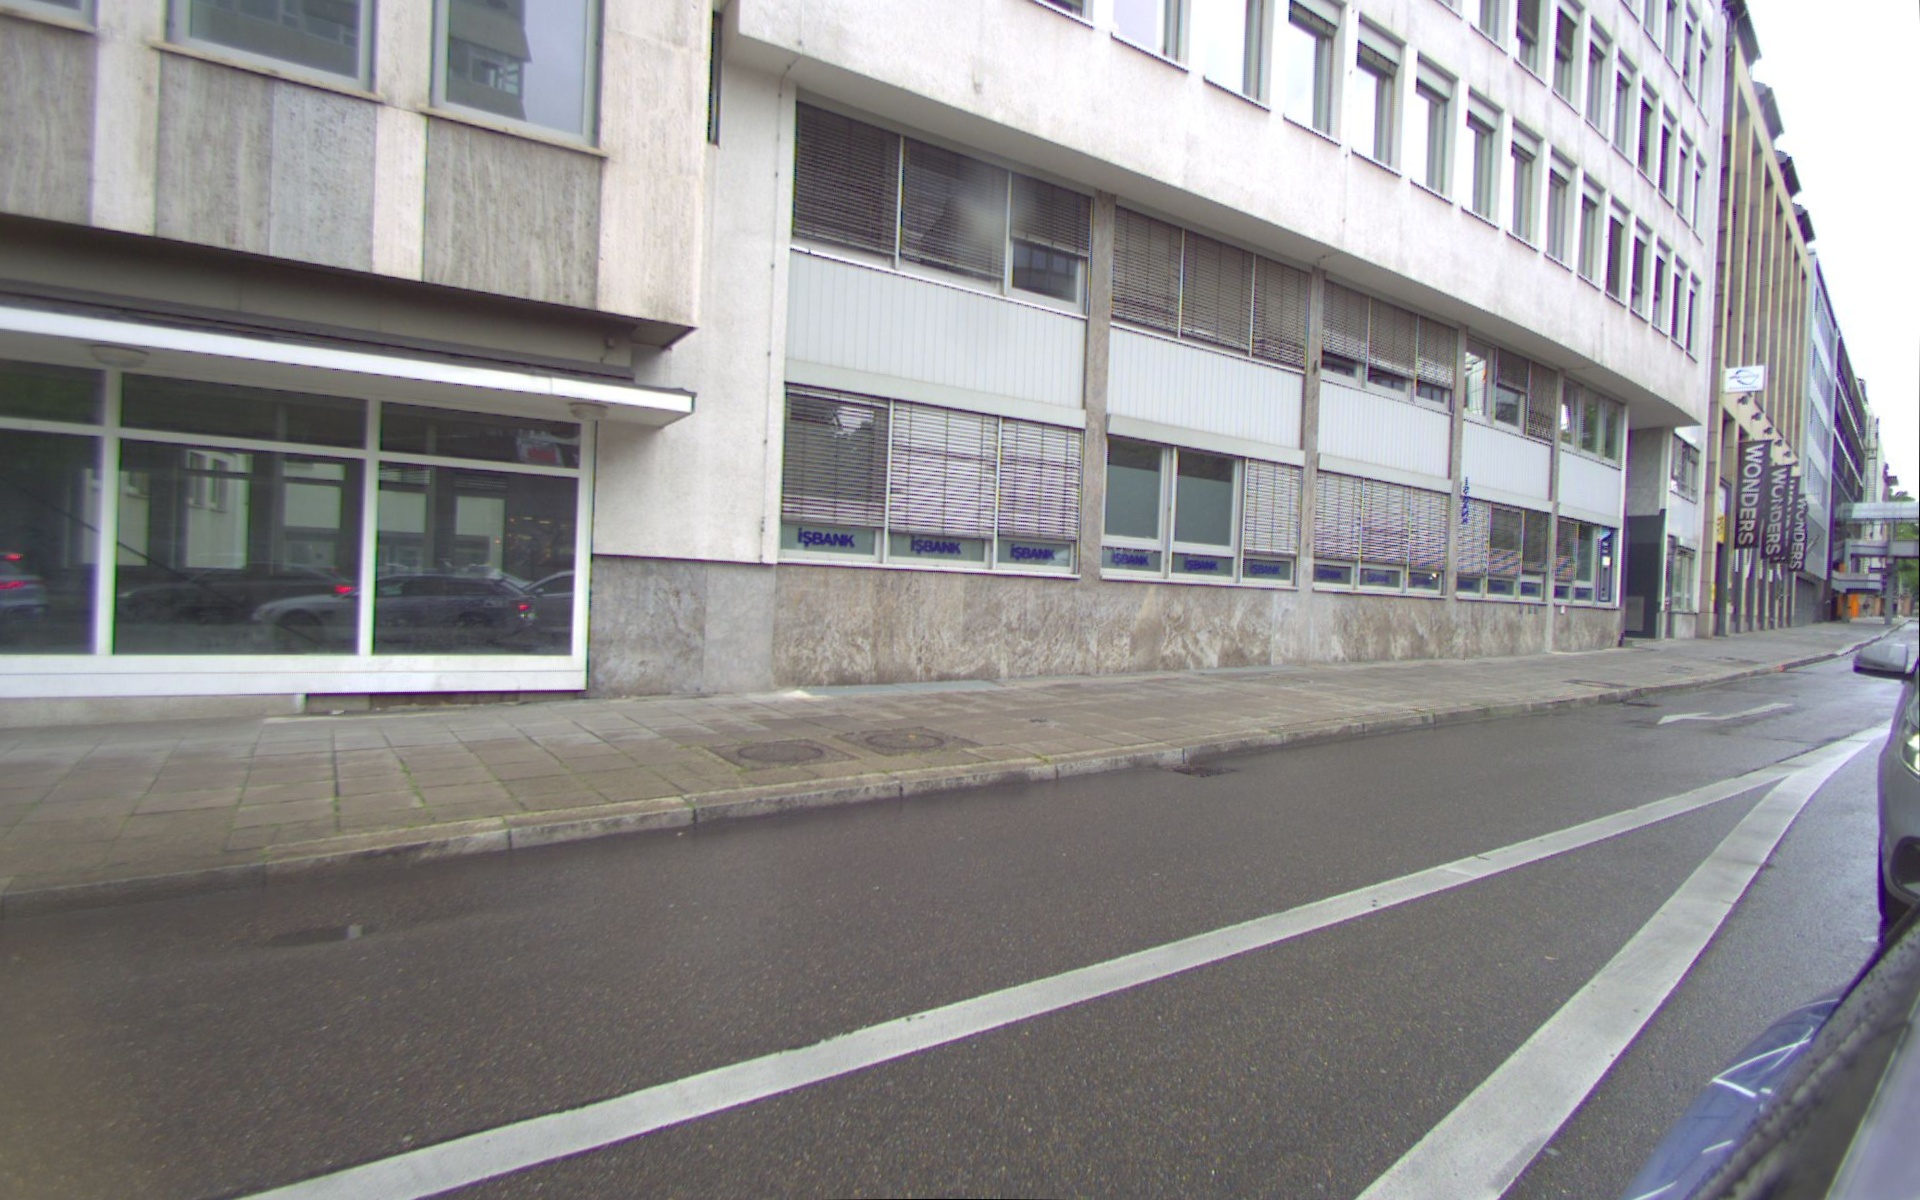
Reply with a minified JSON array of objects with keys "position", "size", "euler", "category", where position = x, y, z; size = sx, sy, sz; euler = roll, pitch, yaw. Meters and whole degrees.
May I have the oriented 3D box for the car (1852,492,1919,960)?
[{"position":[6.183,0.517,5.163],"size":[4.940,1.879,1.914],"euler":[0,0,-42],"category":"car"}]
